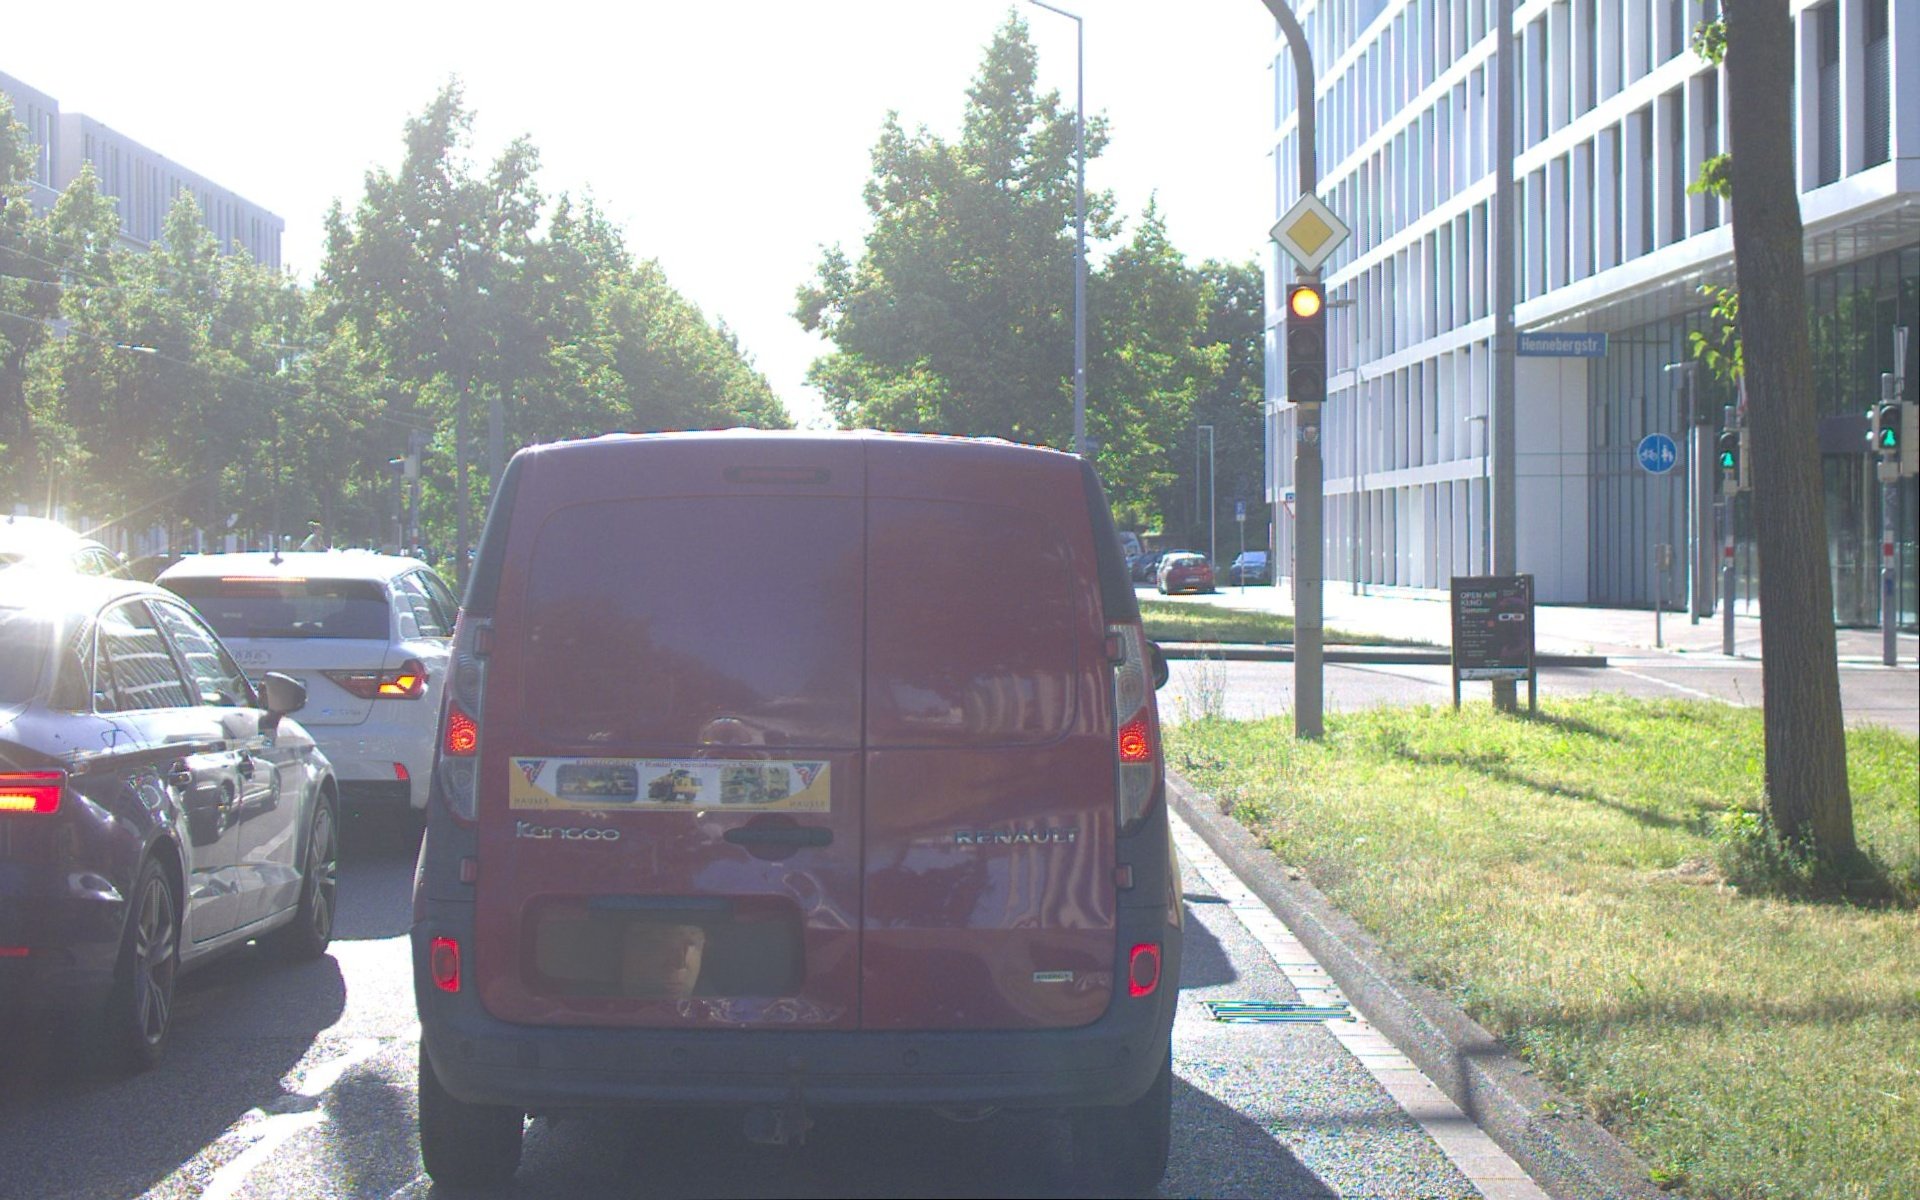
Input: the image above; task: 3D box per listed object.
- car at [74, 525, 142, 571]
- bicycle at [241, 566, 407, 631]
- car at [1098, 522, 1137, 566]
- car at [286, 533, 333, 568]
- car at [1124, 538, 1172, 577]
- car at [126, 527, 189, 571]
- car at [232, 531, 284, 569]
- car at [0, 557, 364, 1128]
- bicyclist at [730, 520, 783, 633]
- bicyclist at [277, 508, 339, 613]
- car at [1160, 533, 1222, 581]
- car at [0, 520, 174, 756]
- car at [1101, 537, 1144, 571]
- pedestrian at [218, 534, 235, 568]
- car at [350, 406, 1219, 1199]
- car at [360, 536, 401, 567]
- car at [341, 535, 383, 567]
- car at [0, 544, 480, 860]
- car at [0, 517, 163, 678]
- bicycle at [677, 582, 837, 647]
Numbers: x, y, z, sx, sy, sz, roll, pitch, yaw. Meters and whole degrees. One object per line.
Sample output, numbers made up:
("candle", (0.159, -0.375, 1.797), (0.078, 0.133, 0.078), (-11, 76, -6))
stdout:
("car", (-36.987, -2.268, 149.320), (1.993, 2.007, 4.000), (0, 1, -1))
("bicycle", (-11.841, -0.037, 64.060), (2.942, 1.186, 0.818), (0, 1, 0))
("car", (9.061, -3.251, 198.324), (1.993, 2.488, 4.987), (0, 1, -1))
("car", (-37.688, -2.875, 199.221), (1.993, 2.007, 4.000), (0, 1, -1))
("car", (8.776, -1.986, 160.617), (1.993, 1.776, 4.000), (0, 1, -1))
("car", (-36.975, -2.373, 158.420), (1.993, 2.007, 4.000), (0, 1, -1))
("car", (-37.237, -2.662, 182.406), (1.993, 2.007, 4.000), (0, 1, -1))
("car", (-3.165, 0.590, 10.913), (1.842, 1.421, 4.339), (0, 1, -1))
("bicyclist", (-3.769, -0.449, 63.887), (0.940, 2.085, 0.818), (0, 1, -1))
("bicyclist", (-12.148, -0.737, 64.064), (0.998, 1.940, 0.818), (0, 1, 0))
("car", (8.573, -1.611, 127.794), (1.993, 1.776, 4.000), (0, 1, -1))
("car", (-6.421, 0.192, 23.240), (1.798, 1.442, 4.570), (0, 1, -8))
("car", (8.477, -2.419, 179.815), (1.993, 1.776, 4.000), (0, 1, -1))
("pedestrian", (-42.737, -2.848, 200.295), (0.806, 2.007, 0.871), (0, 1, -1))
("car", (-0.398, 0.439, 9.307), (1.842, 1.774, 4.000), (0, 1, -1))
("car", (-37.559, -3.145, 222.863), (1.993, 2.007, 4.000), (0, 1, -1))
("car", (-37.770, -3.088, 217.239), (1.993, 2.007, 4.000), (0, 1, -1))
("car", (-3.607, 0.432, 17.568), (1.803, 1.421, 3.901), (0, 1, -1))
("car", (-9.267, -0.075, 34.127), (1.798, 1.442, 4.570), (1, 1, -24))
("bicycle", (-3.761, 0.269, 63.887), (2.942, 1.186, 0.818), (0, 1, 0))
